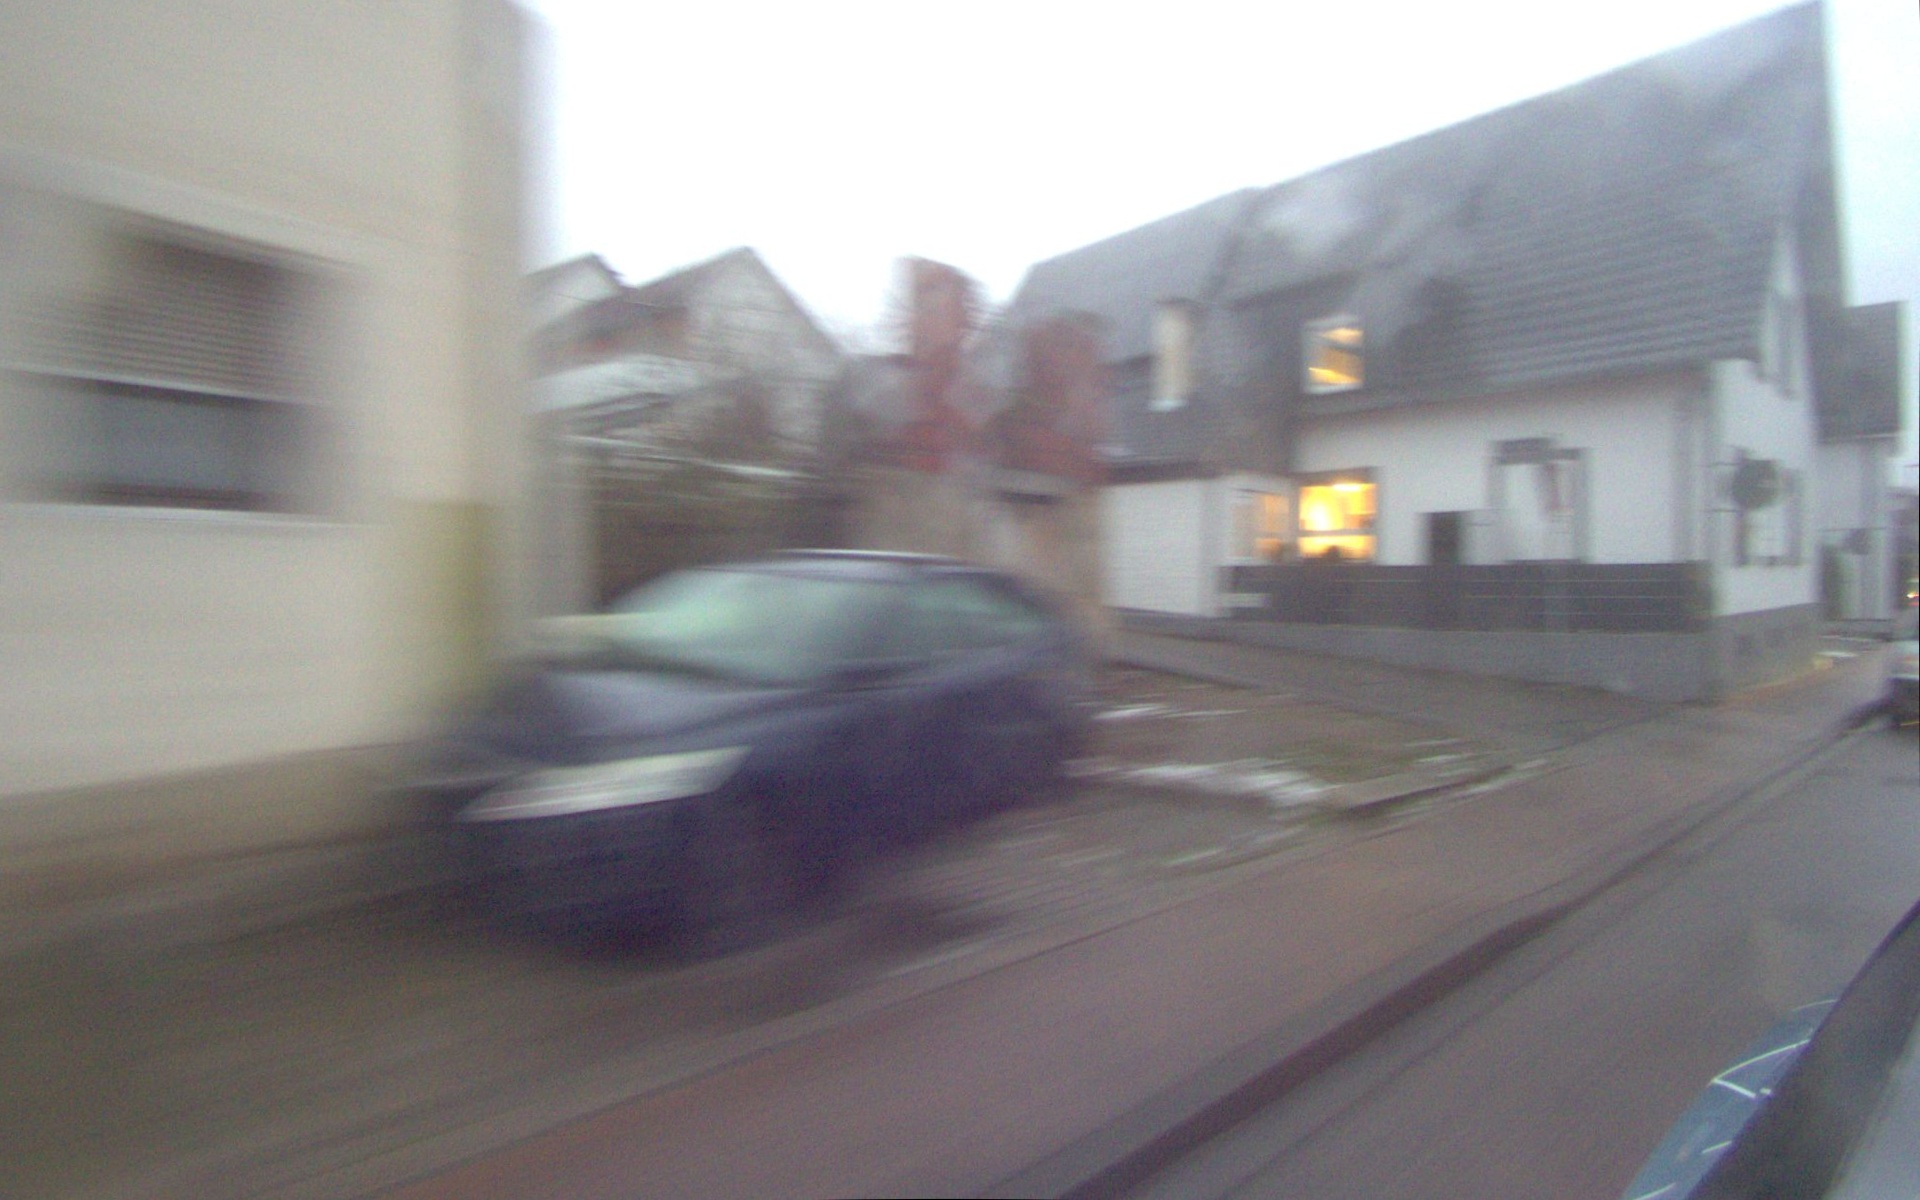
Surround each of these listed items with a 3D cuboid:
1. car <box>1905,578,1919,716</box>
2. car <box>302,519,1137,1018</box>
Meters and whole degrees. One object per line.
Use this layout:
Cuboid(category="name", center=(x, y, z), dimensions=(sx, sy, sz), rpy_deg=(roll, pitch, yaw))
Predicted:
Cuboid(category="car", center=(12.404, 0.490, 11.922), dimensions=(3.934, 1.513, 1.639), rpy_deg=(-1, 0, -44))
Cuboid(category="car", center=(-0.753, 0.407, 5.340), dimensions=(1.800, 1.505, 4.229), rpy_deg=(3, 4, 33))
